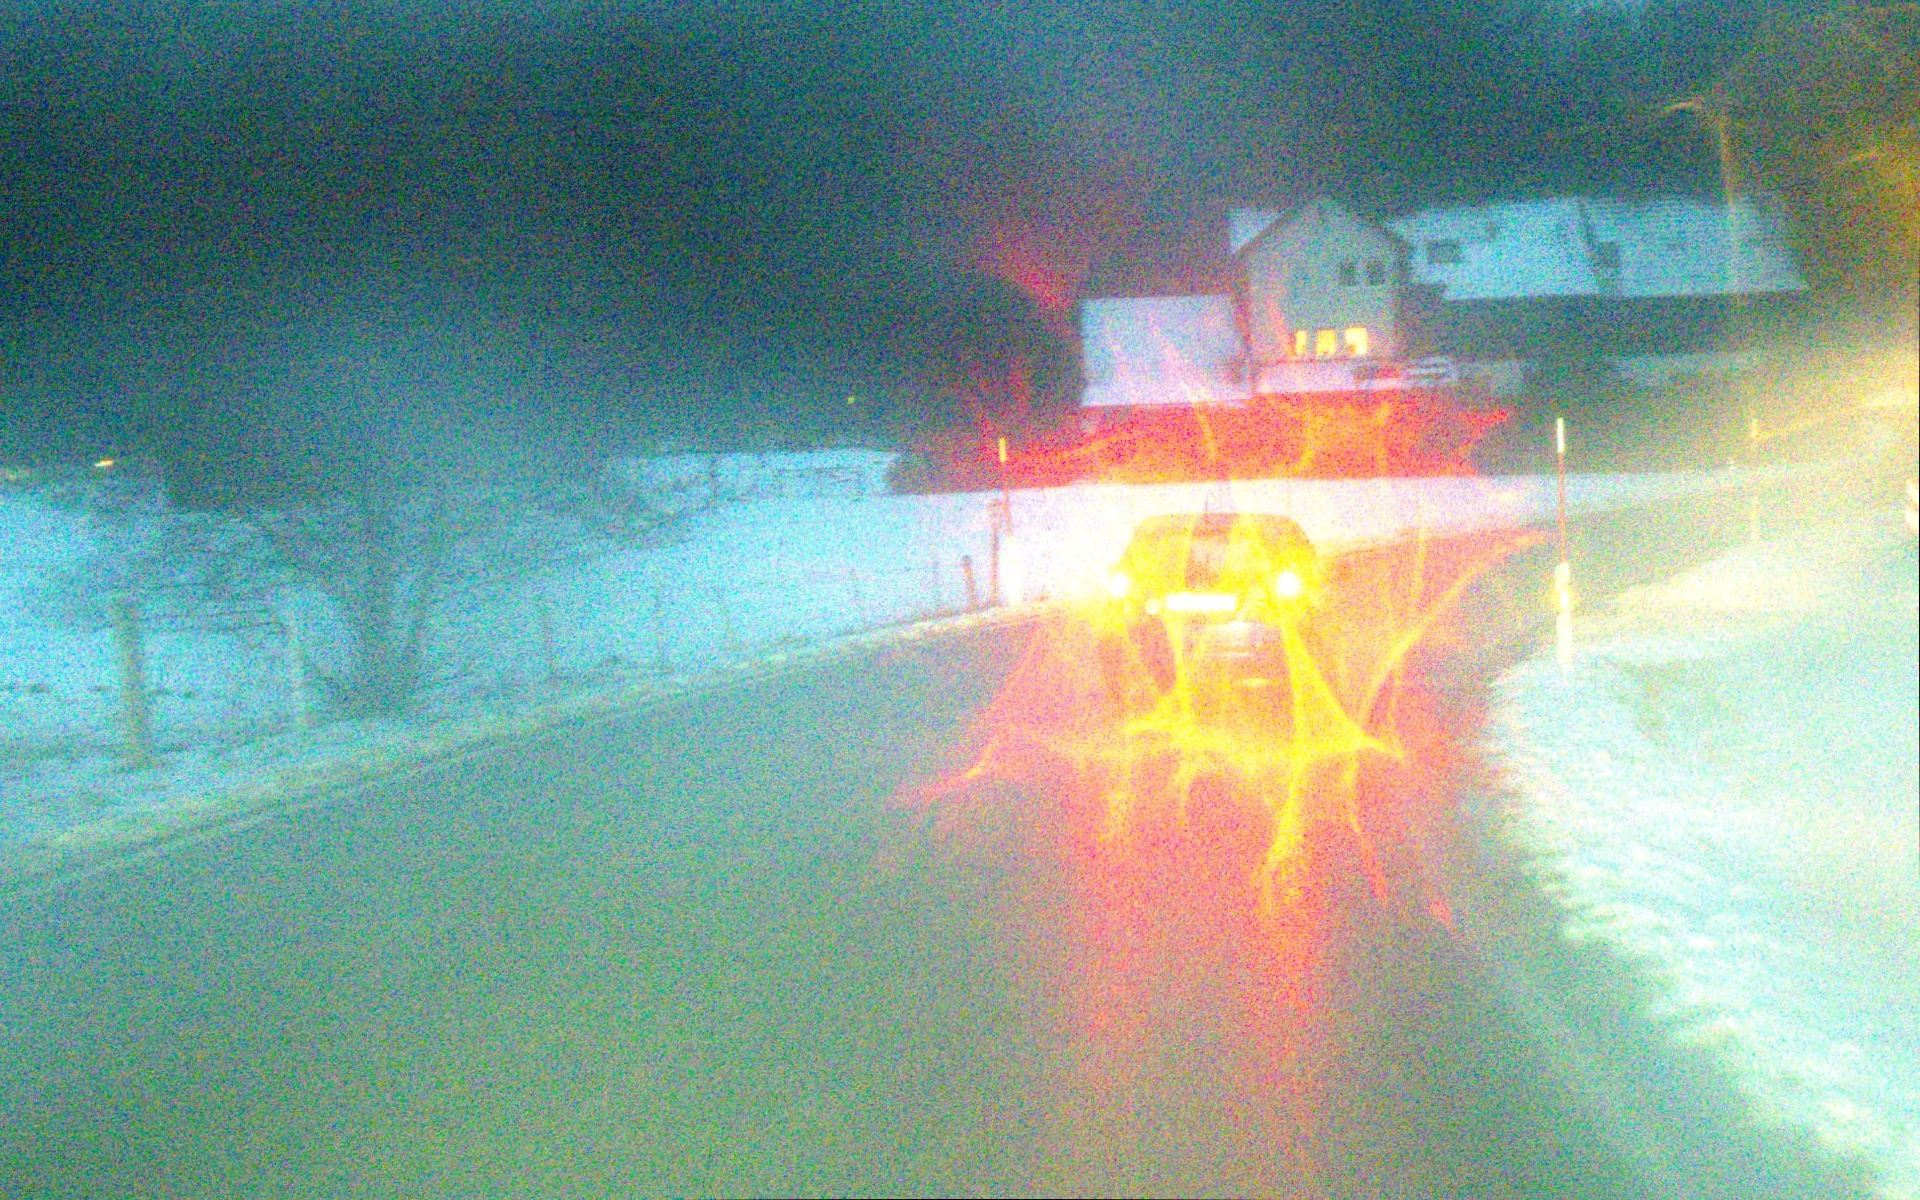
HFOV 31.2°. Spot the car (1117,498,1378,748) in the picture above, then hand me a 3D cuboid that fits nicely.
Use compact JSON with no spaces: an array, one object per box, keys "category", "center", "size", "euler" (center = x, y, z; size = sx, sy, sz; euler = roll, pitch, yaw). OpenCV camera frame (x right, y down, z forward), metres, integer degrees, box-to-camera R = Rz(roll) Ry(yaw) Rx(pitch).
[{"category":"car","center":[2.238,0.137,27.568],"size":[1.822,1.790,3.578],"euler":[-3,1,2]}]
